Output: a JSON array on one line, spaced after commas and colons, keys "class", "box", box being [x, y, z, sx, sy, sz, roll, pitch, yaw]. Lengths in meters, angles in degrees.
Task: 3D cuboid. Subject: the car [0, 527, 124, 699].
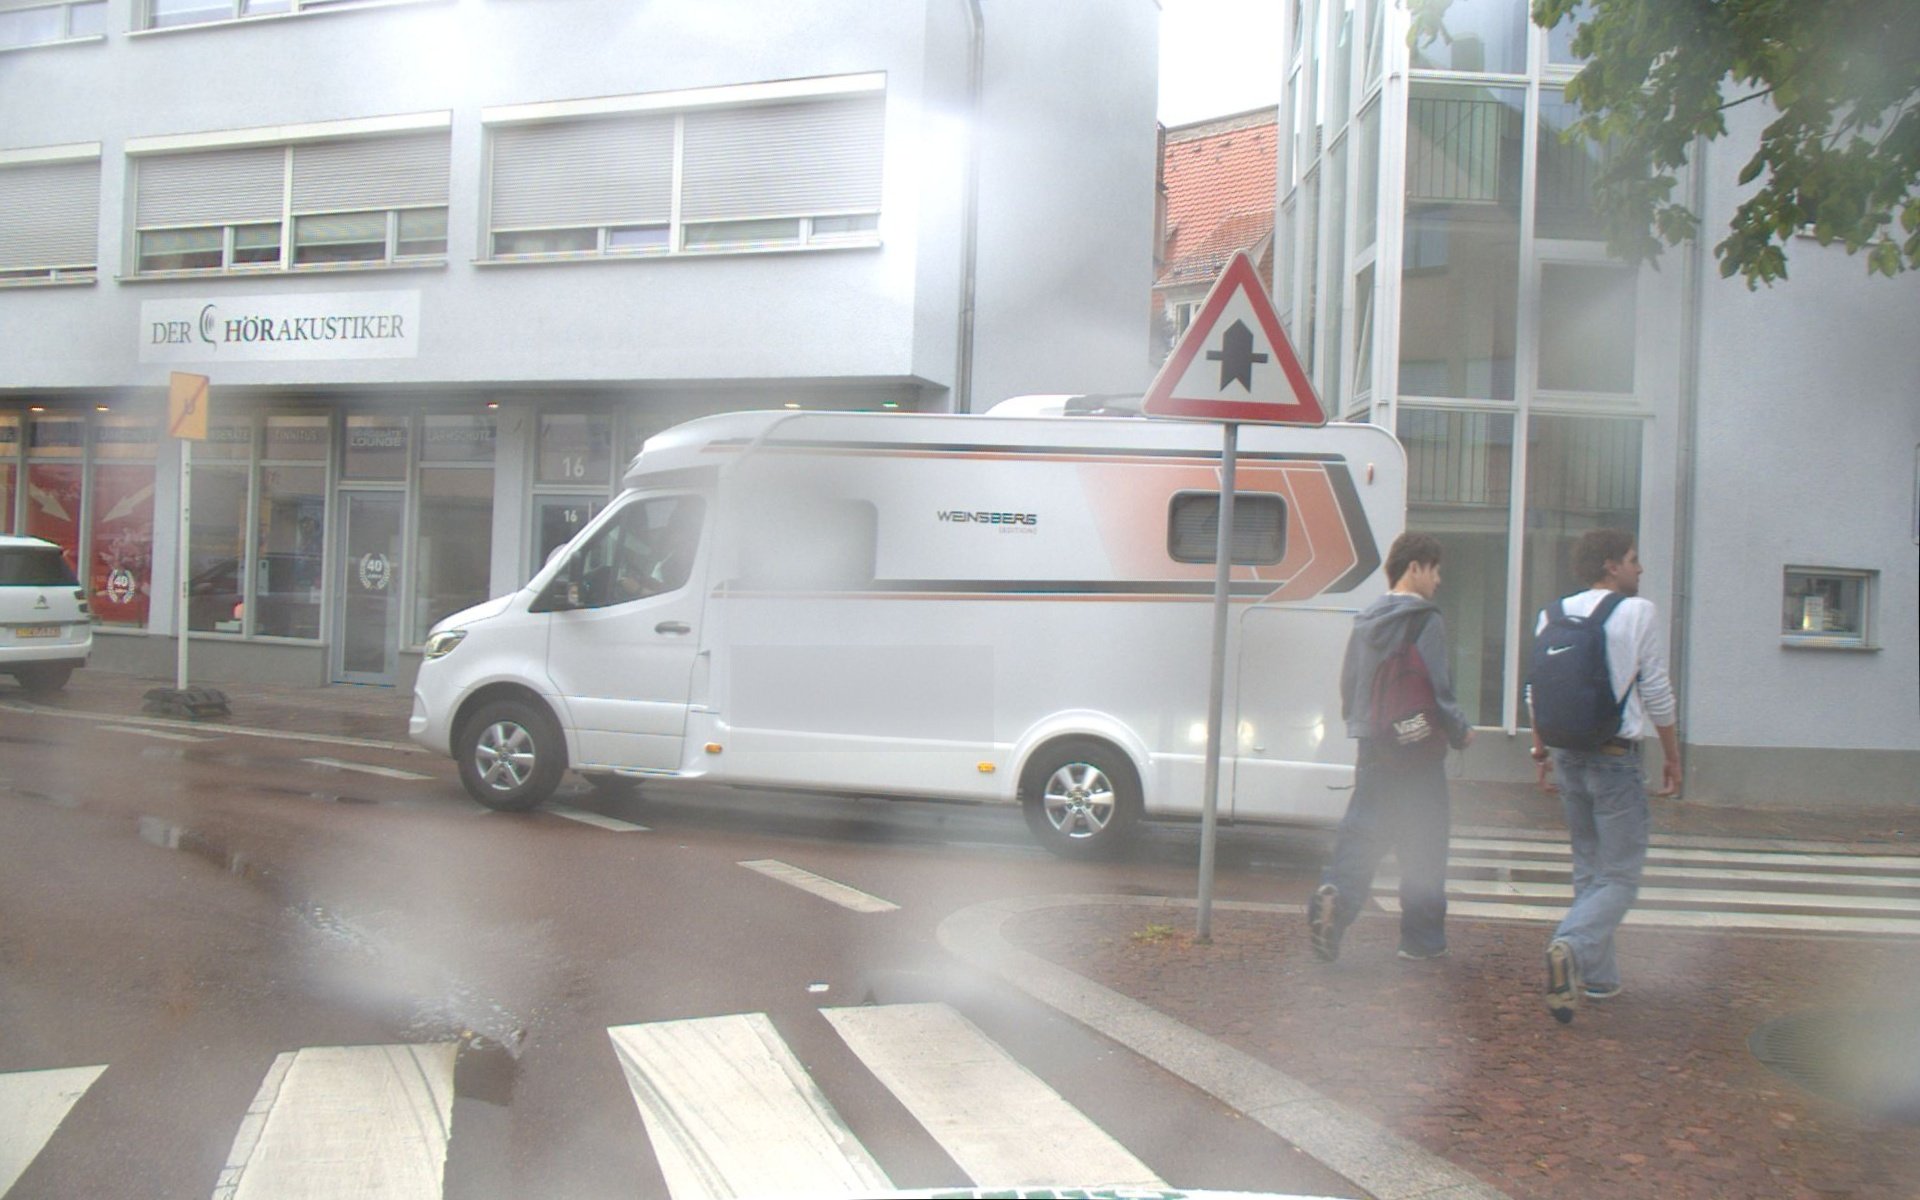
[{"class": "car", "box": [-11.159, 0.064, 17.154, 4.361, 1.659, 1.783, 2, 0, 16]}]

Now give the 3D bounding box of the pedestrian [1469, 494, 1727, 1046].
[{"class": "pedestrian", "box": [2.391, 0.571, 6.145, 0.652, 1.838, 1.058, 1, -1, 34]}]

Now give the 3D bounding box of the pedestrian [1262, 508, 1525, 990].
[{"class": "pedestrian", "box": [1.832, 0.571, 6.923, 0.681, 1.832, 1.054, 1, -1, 37]}]

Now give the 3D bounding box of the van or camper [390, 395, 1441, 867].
[{"class": "van or camper", "box": [-0.238, 0.101, 11.405, 6.586, 2.630, 2.448, 2, 0, 12]}]
